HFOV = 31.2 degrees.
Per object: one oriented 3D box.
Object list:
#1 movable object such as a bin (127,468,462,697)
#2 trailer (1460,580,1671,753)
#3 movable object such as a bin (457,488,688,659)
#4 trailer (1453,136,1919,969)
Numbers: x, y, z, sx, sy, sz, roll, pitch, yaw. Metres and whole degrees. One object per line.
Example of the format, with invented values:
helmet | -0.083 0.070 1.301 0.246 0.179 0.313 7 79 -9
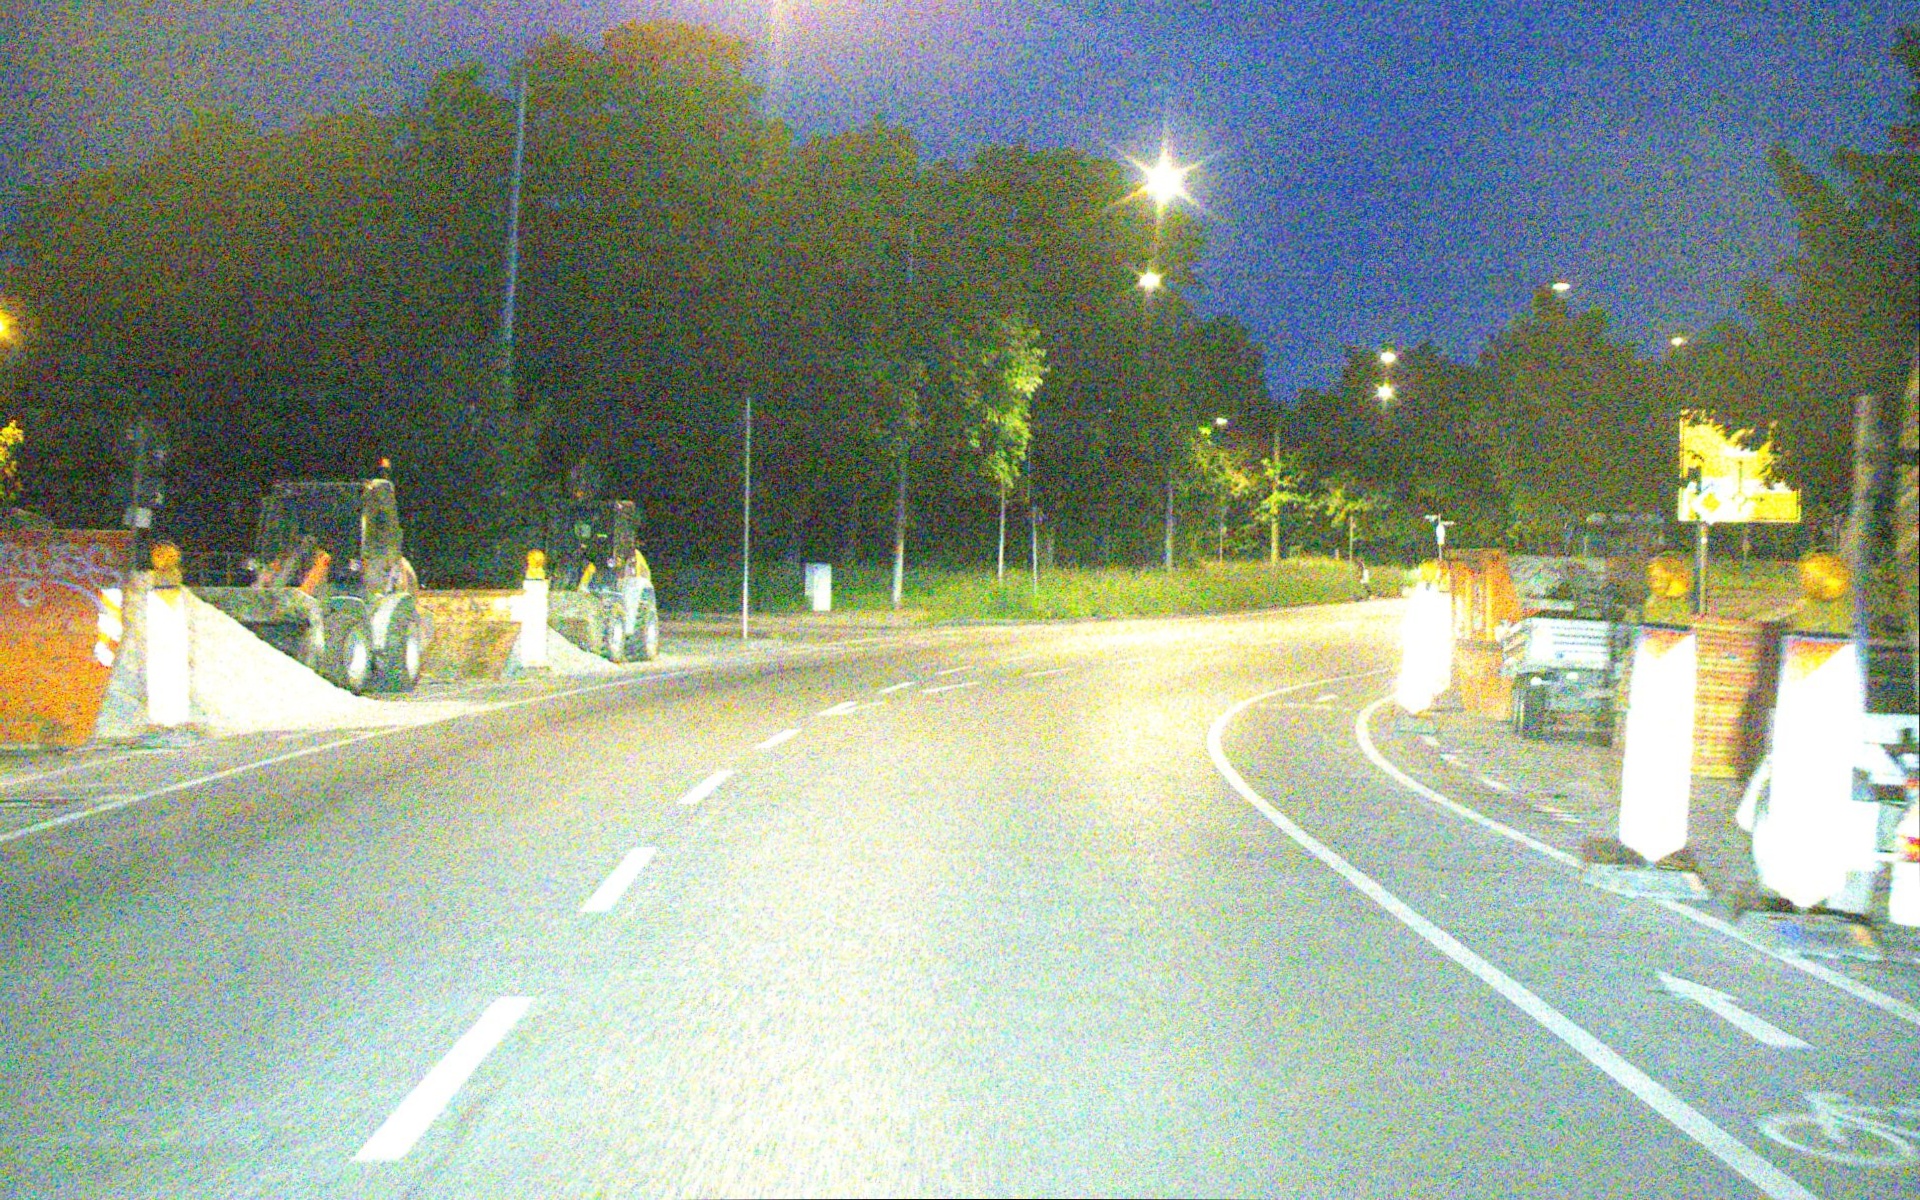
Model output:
movable object such as a bin | -7.292 -0.202 38.196 1.994 2.368 4.699 1 0 11
trailer | 5.479 0.558 31.413 1.242 1.429 3.727 1 1 0
movable object such as a bin | -5.589 -0.387 50.206 1.994 2.368 4.699 1 0 11
trailer | 4.585 -0.127 15.884 3.481 3.208 4.866 3 0 -4
